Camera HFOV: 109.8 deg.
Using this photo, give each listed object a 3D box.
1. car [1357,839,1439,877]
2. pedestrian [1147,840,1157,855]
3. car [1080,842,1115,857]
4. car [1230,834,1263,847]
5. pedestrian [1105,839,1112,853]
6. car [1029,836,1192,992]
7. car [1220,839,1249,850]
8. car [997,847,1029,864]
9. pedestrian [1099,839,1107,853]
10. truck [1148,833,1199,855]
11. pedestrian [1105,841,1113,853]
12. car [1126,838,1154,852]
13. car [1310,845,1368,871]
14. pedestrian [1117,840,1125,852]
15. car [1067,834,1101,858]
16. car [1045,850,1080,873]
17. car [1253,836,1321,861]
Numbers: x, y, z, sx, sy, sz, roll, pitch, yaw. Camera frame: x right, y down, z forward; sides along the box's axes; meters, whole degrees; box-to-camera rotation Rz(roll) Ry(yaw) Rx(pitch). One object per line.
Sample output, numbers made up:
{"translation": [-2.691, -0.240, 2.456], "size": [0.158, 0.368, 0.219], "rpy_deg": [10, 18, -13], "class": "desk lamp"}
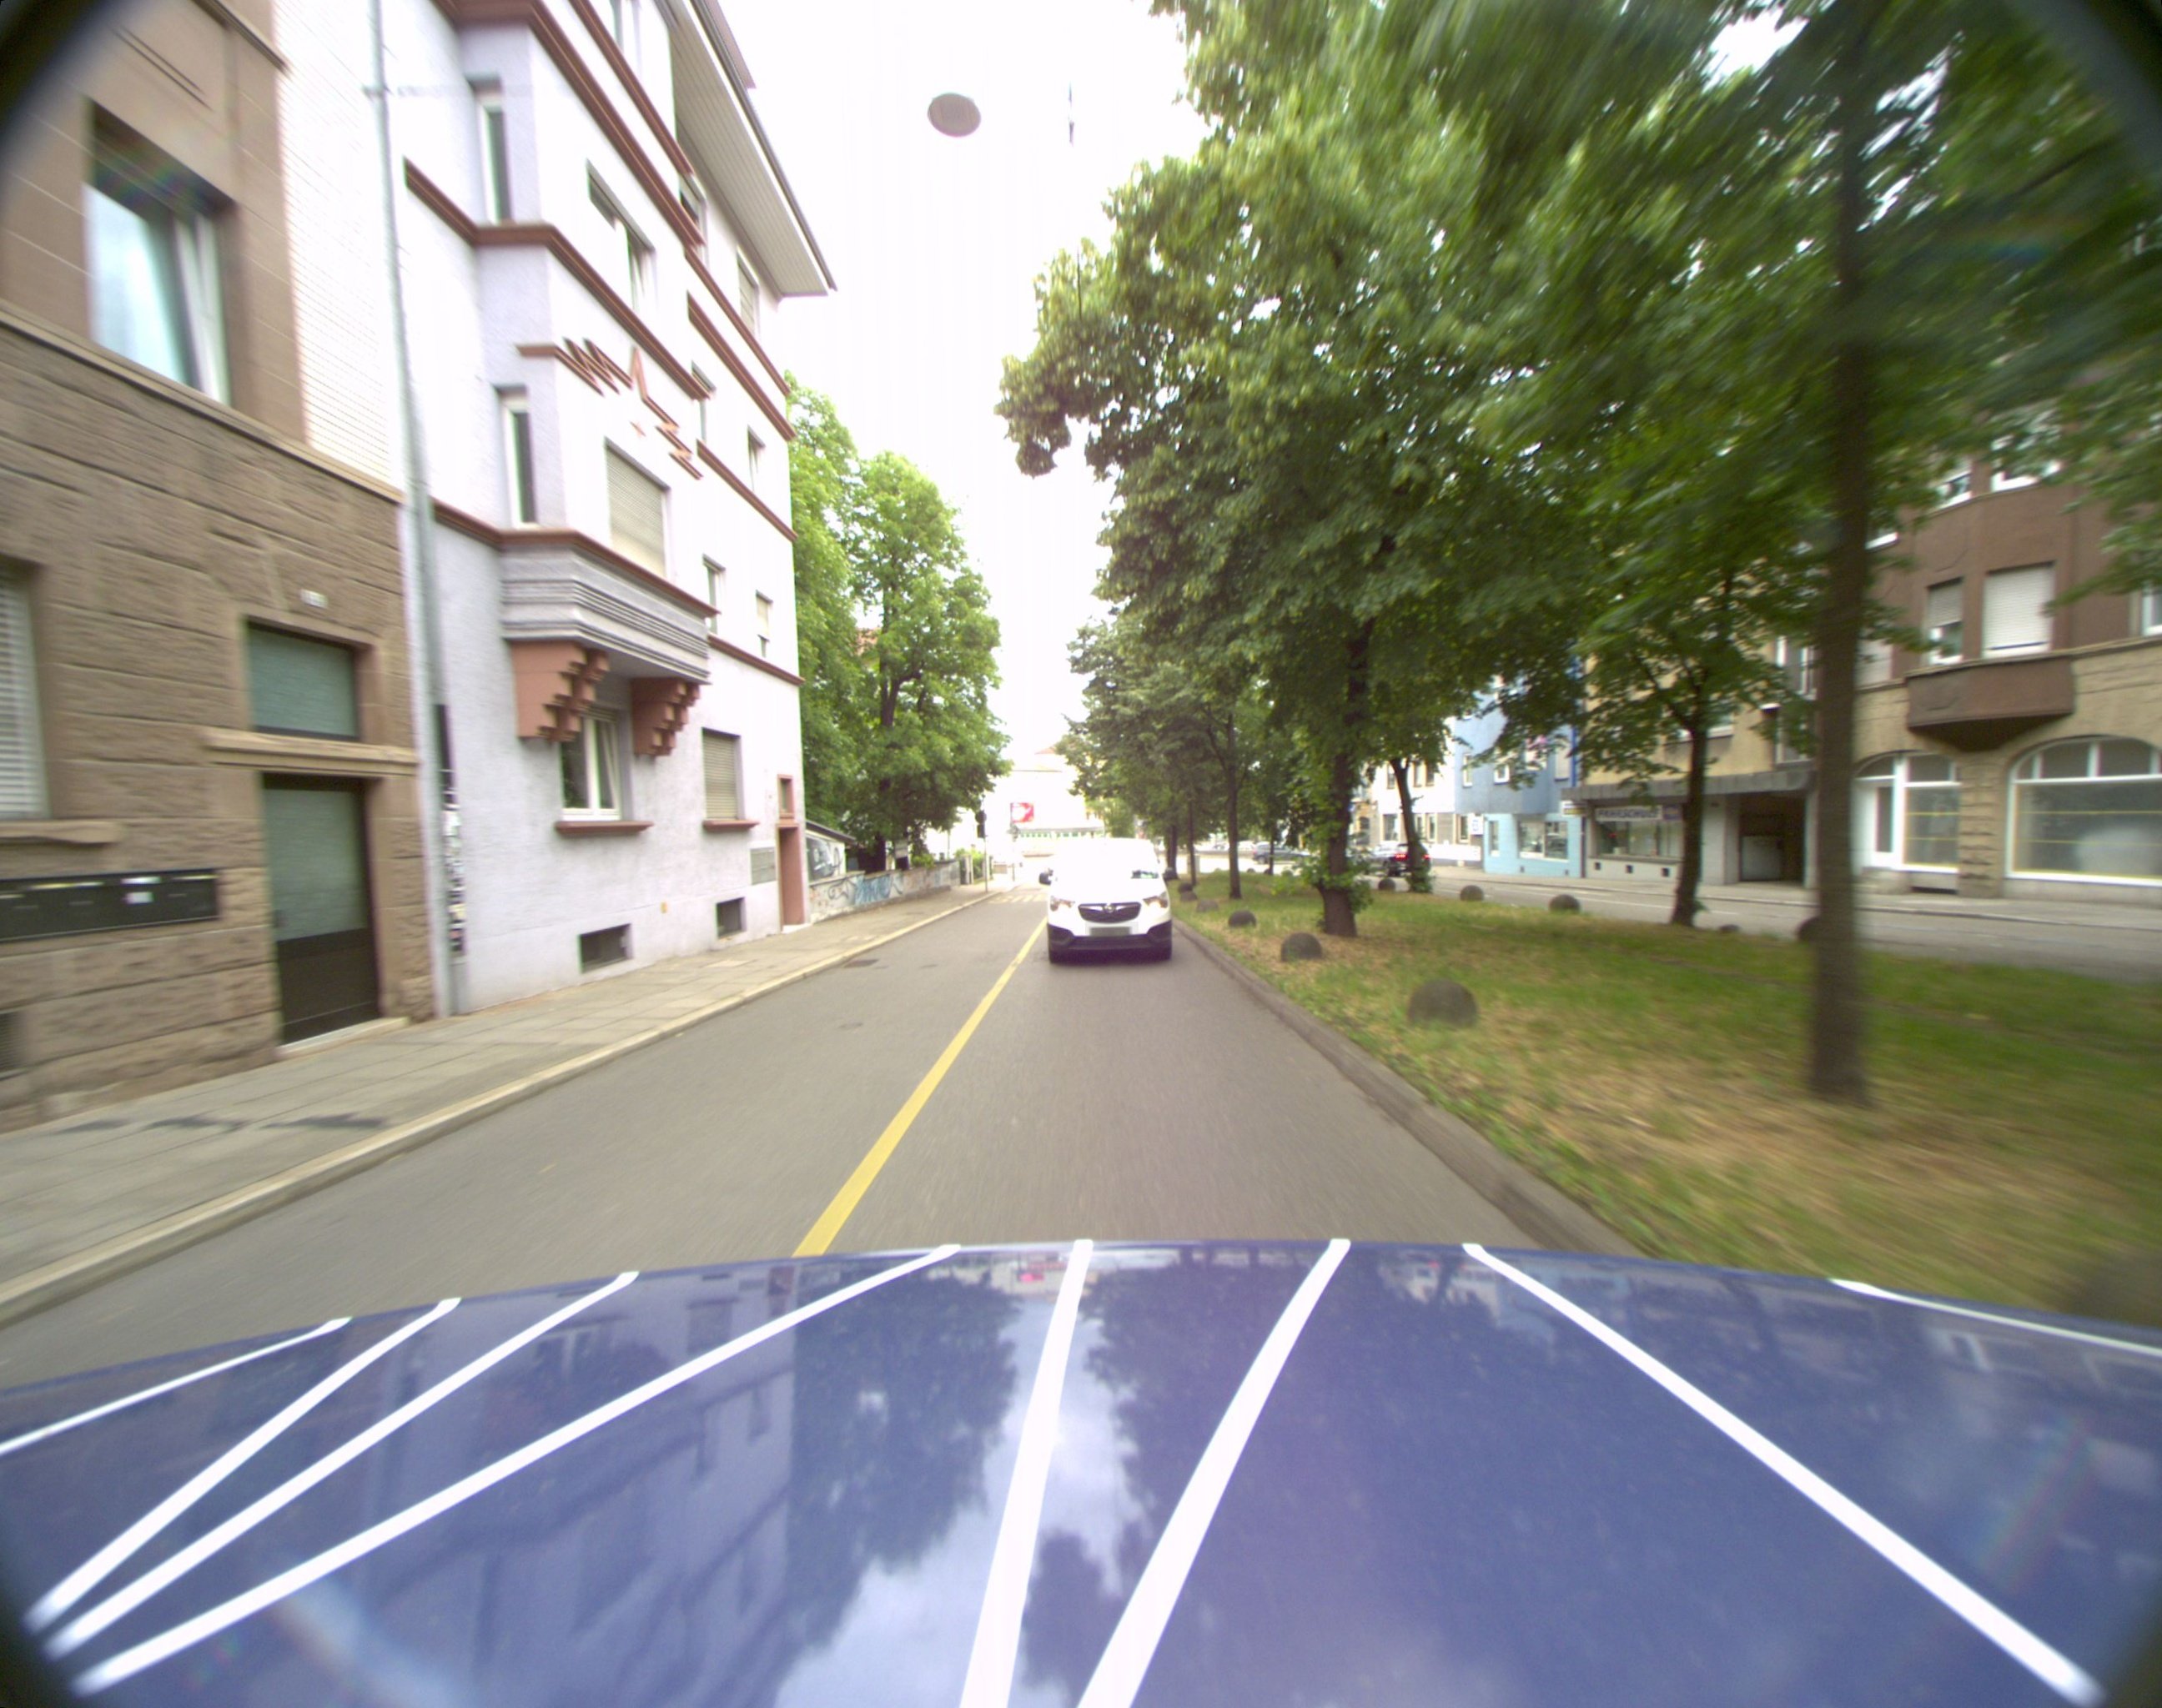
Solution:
{"translation": [14.802, 0.121, 35.796], "size": [1.820, 1.627, 4.677], "rpy_deg": [0, 2, -1], "class": "car"}
{"translation": [7.796, -0.709, 83.400], "size": [0.707, 1.574, 0.801], "rpy_deg": [-5, 4, -34], "class": "pedestrian"}
{"translation": [1.782, -0.502, 82.592], "size": [1.799, 1.422, 3.952], "rpy_deg": [-4, 3, -32], "class": "car"}
{"translation": [22.396, -1.824, 102.949], "size": [1.896, 1.590, 3.922], "rpy_deg": [-5, 4, -44], "class": "car"}
{"translation": [3.350, -0.978, 91.771], "size": [0.607, 1.610, 0.553], "rpy_deg": [-5, 4, -35], "class": "pedestrian"}
{"translation": [0.468, 0.684, 11.494], "size": [1.857, 1.799, 4.729], "rpy_deg": [-3, 1, 3], "class": "car"}
{"translation": [24.539, -1.547, 121.530], "size": [3.922, 1.590, 1.896], "rpy_deg": [-1, 3, 38], "class": "car"}
{"translation": [-6.605, 0.182, 73.792], "size": [1.956, 1.541, 4.028], "rpy_deg": [-3, 0, -22], "class": "car"}
{"translation": [2.672, -0.975, 92.449], "size": [0.770, 1.610, 0.651], "rpy_deg": [-1, 4, 32], "class": "pedestrian"}
{"translation": [12.504, -1.361, 102.224], "size": [6.467, 2.707, 2.765], "rpy_deg": [-1, 1, -33], "class": "truck"}
{"translation": [3.670, -0.930, 99.471], "size": [0.867, 1.610, 0.919], "rpy_deg": [-2, 3, 13], "class": "pedestrian"}
{"translation": [7.415, -1.139, 95.212], "size": [2.207, 1.563, 4.482], "rpy_deg": [-2, 3, 23], "class": "car"}
{"translation": [14.698, 0.226, 43.512], "size": [1.673, 1.398, 4.293], "rpy_deg": [-1, 0, -2], "class": "car"}
{"translation": [5.356, -1.093, 101.379], "size": [0.867, 1.610, 0.919], "rpy_deg": [-2, 3, 13], "class": "pedestrian"}
{"translation": [0.256, -0.723, 69.474], "size": [2.001, 2.003, 4.263], "rpy_deg": [-3, 3, -14], "class": "car"}
{"translation": [-1.435, 0.541, 56.577], "size": [2.040, 1.541, 4.032], "rpy_deg": [-3, 0, -9], "class": "car"}
{"translation": [15.704, -0.409, 57.937], "size": [4.718, 1.605, 1.861], "rpy_deg": [-3, 2, 25], "class": "car"}
